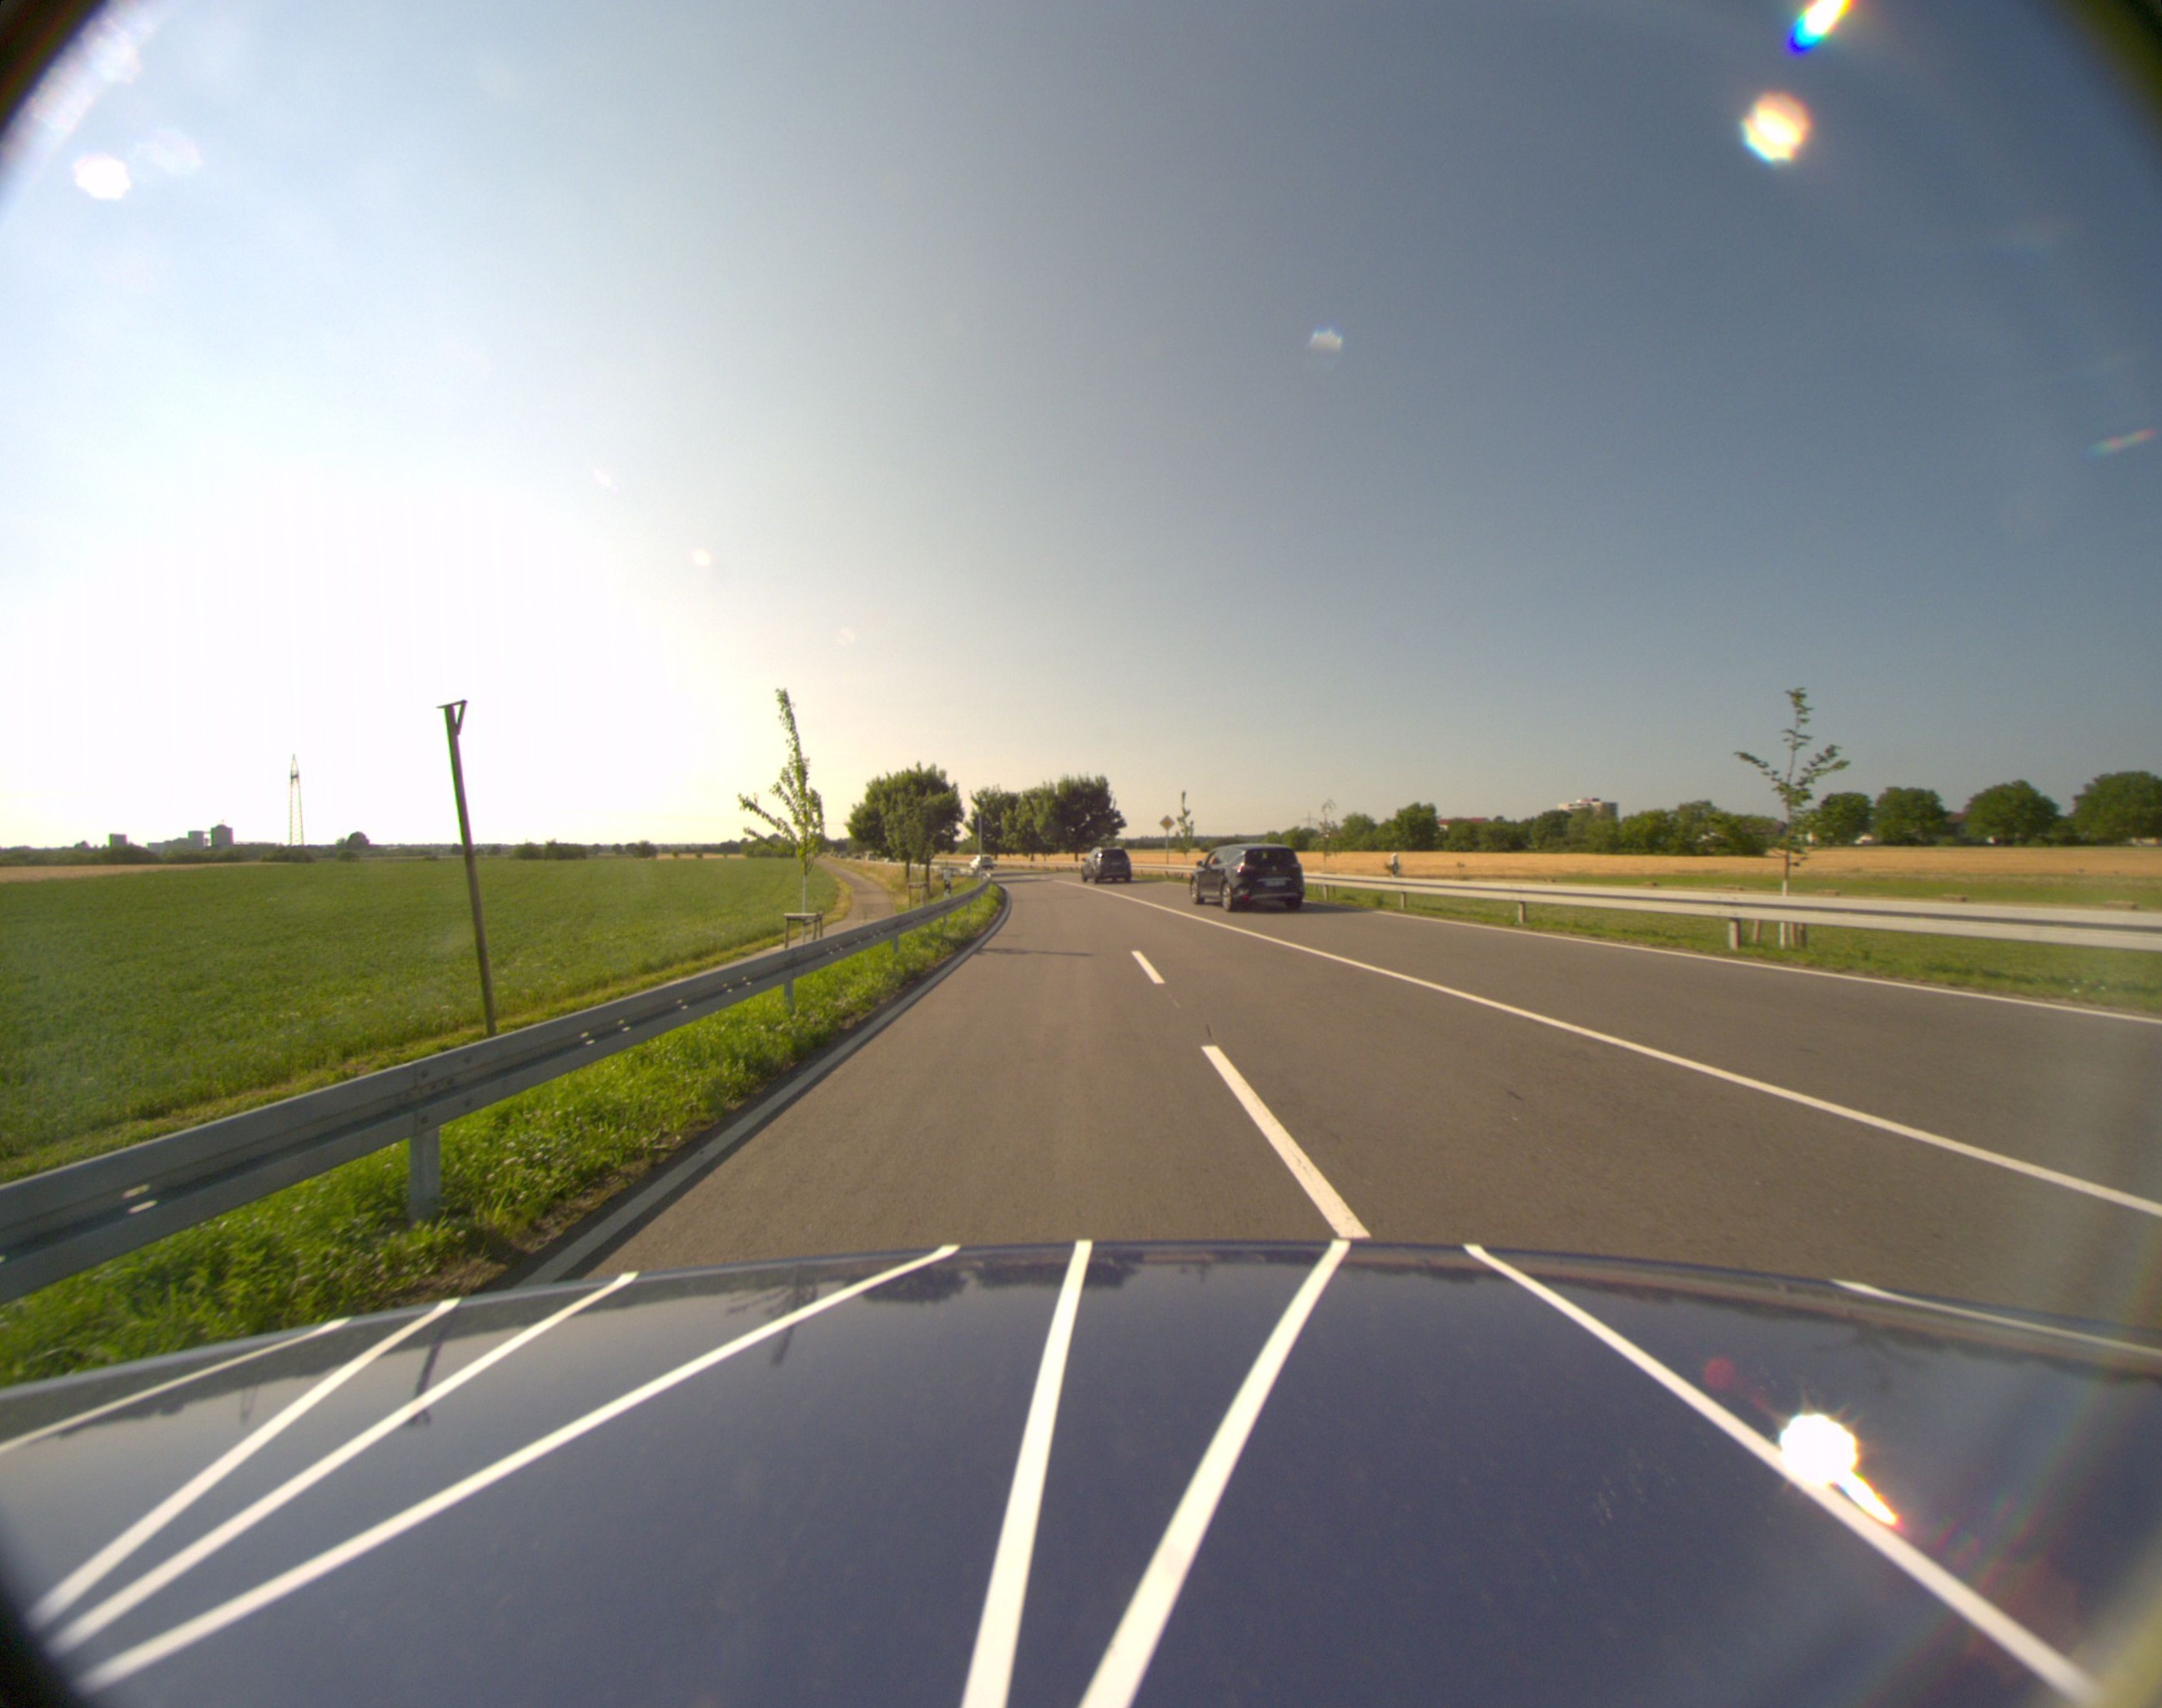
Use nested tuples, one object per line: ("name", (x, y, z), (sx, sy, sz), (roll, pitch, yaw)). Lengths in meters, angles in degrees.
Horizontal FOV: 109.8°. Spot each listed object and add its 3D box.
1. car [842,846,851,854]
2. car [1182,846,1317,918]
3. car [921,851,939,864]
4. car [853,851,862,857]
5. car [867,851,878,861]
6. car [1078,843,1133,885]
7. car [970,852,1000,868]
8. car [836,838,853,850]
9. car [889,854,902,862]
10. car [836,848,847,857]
("car", (-75.858, -1.257, 245.530), (2.409, 2.561, 5.364), (-1, 2, -22))
("car", (4.281, 0.637, 20.239), (2.000, 1.583, 4.859), (-3, 1, -6))
("car", (-21.367, 0.503, 107.450), (1.845, 1.536, 4.236), (-4, 3, -21))
("car", (-59.823, -0.025, 203.439), (2.017, 1.576, 4.817), (-1, 2, -22))
("car", (-46.785, 0.414, 170.359), (1.920, 2.003, 4.774), (-3, 3, -21))
("car", (1.166, 0.434, 38.443), (1.888, 1.788, 5.086), (-3, 3, -7))
("car", (-9.599, 0.577, 75.755), (1.861, 1.441, 4.145), (-4, 2, -23))
("car", (-45.611, -1.933, 146.178), (2.819, 2.002, 6.091), (-3, 2, -19))
("car", (-34.393, 0.695, 140.710), (1.759, 1.421, 3.838), (-3, 2, -23))
("car", (-52.651, -0.317, 167.235), (1.791, 2.002, 3.992), (-4, 2, -22))
